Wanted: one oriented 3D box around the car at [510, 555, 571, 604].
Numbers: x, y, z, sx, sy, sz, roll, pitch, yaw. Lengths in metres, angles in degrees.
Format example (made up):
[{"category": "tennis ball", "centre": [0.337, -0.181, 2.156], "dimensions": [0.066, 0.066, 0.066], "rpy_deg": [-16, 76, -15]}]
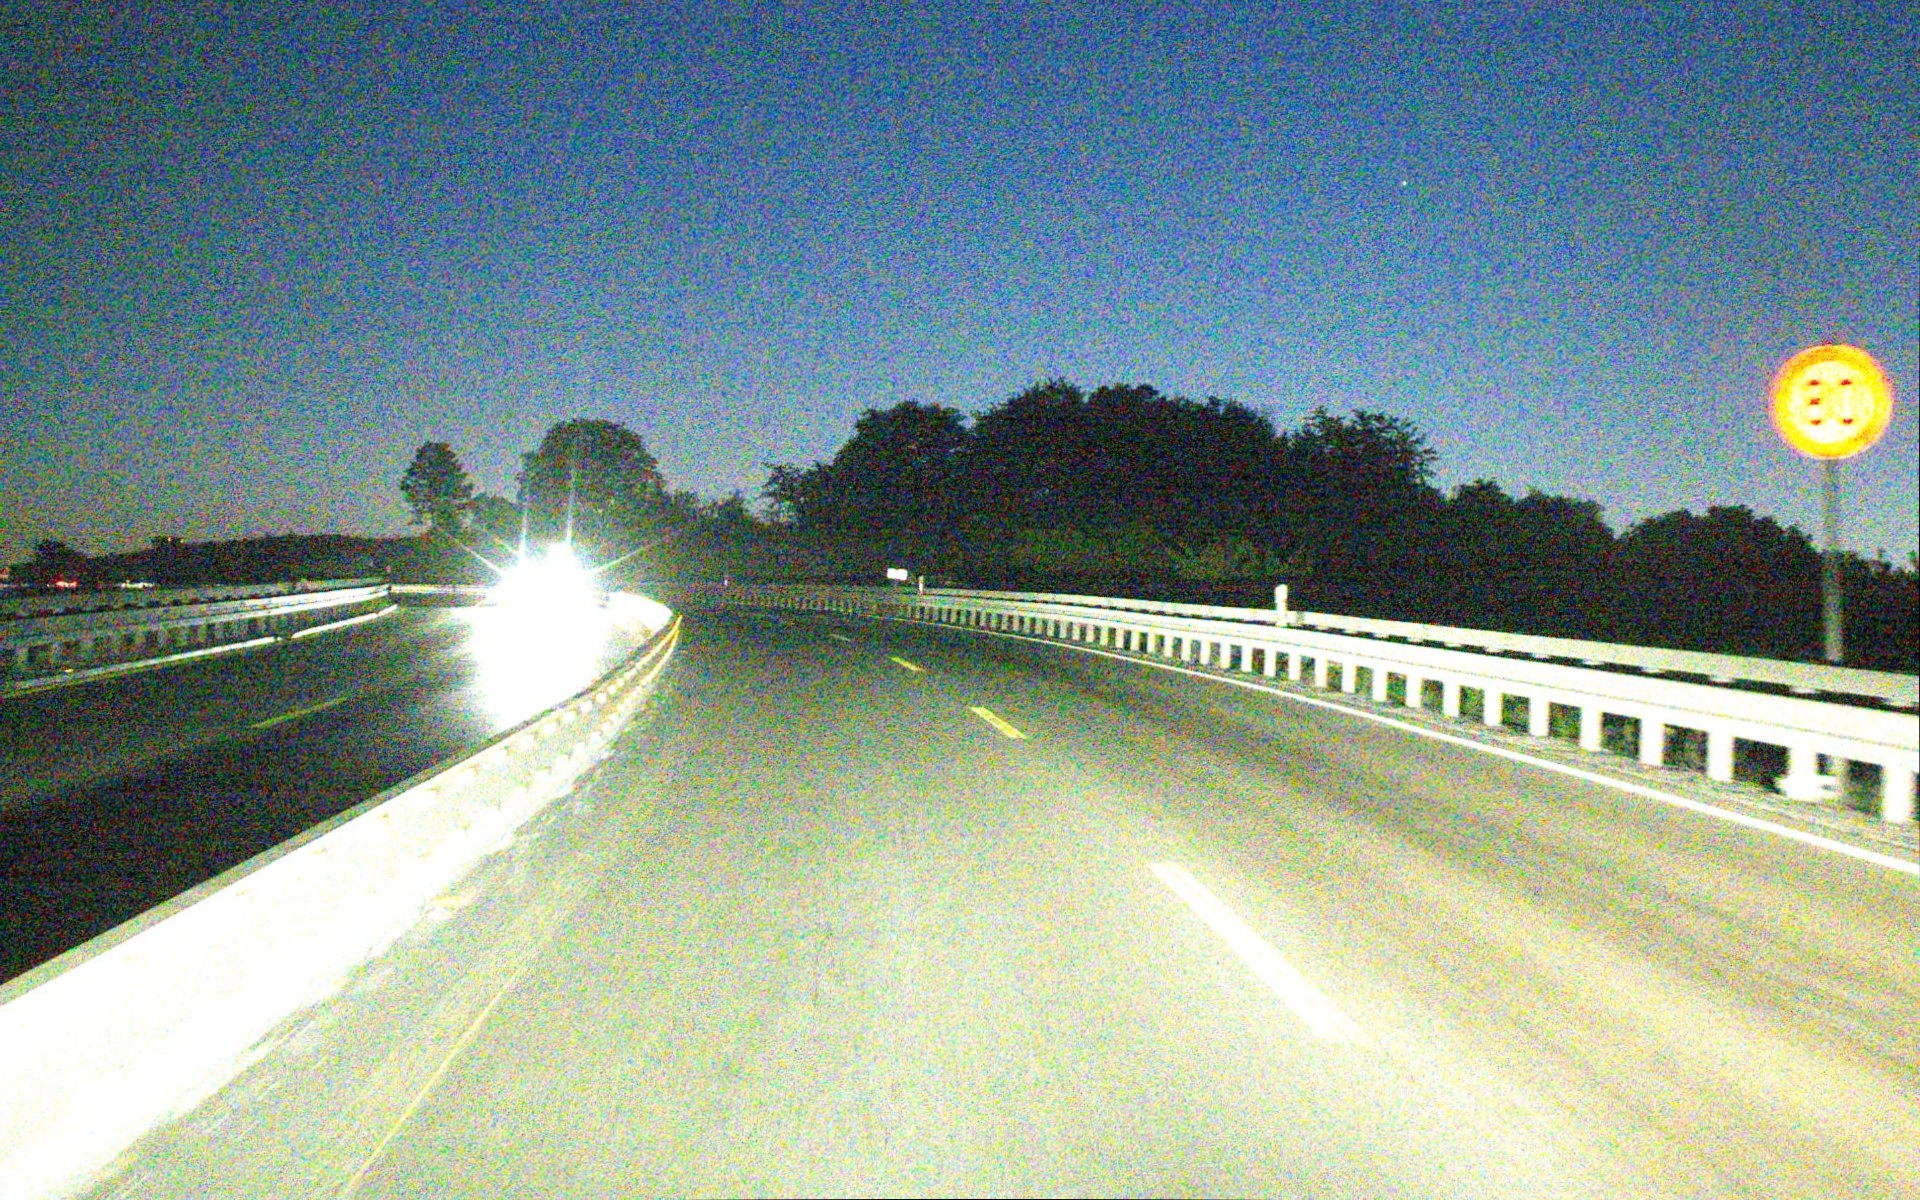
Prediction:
[{"category": "car", "centre": [-13.597, -0.649, 111.359], "dimensions": [1.818, 1.511, 4.524], "rpy_deg": [0, 0, -9]}]
